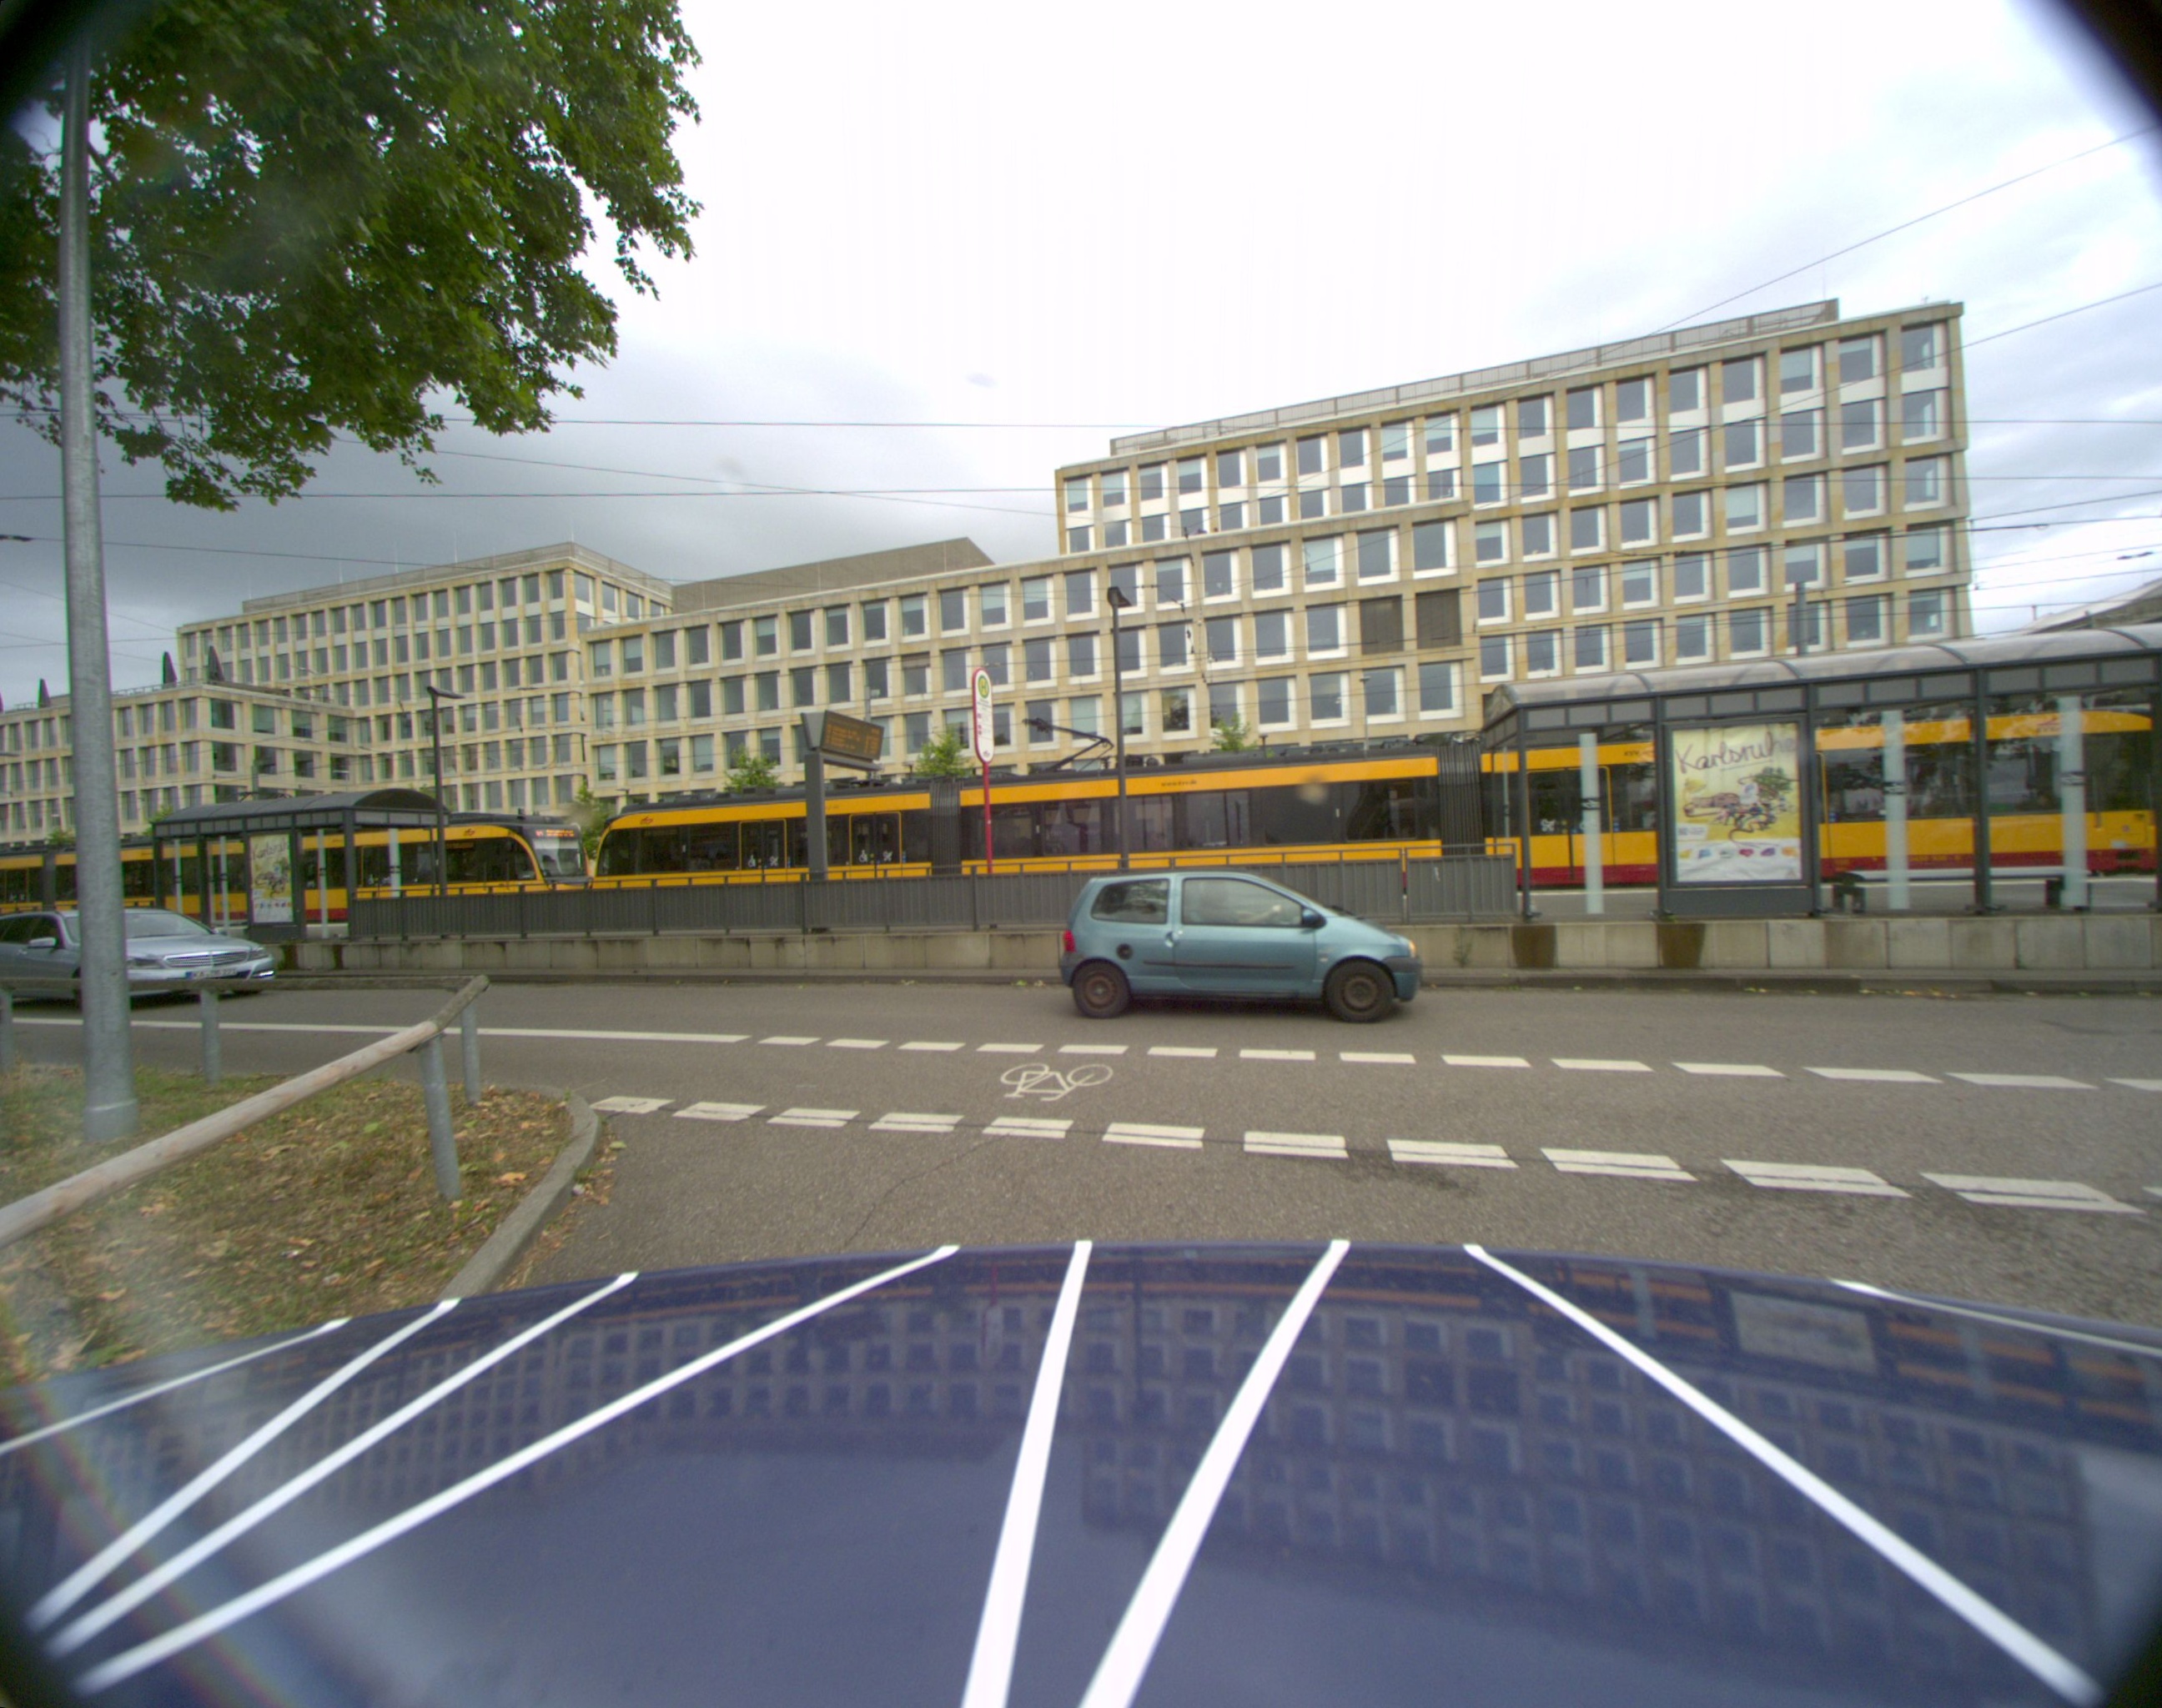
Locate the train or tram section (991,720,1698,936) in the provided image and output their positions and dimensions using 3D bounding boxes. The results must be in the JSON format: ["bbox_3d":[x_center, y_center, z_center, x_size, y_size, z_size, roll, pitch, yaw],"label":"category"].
[{"bbox_3d":[5.349,-0.301,18.337,14.705,4.154,3.194,-2,0,16],"label":"train or tram section"}]

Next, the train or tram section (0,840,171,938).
[{"bbox_3d":[-45.219,1.535,32.733,11.289,3.839,3.252,-2,0,16],"label":"train or tram section"}]

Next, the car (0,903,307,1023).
[{"bbox_3d":[-14.453,1.568,11.546,4.092,1.443,2.002,-2,0,16],"label":"car"}]

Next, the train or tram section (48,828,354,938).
[{"bbox_3d":[-34.330,1.184,29.645,11.289,3.839,3.177,-2,0,16],"label":"train or tram section"}]

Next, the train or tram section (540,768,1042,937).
[{"bbox_3d":[-8.717,0.170,22.441,14.705,4.154,3.194,-2,0,16],"label":"train or tram section"}]

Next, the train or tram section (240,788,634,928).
[{"bbox_3d":[-22.338,0.288,26.265,13.594,4.154,3.194,-2,0,16],"label":"train or tram section"}]

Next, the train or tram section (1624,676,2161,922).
[{"bbox_3d":[19.501,-1.002,14.398,14.705,4.154,3.194,-2,0,16],"label":"train or tram section"}]

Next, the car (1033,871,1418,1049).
[{"bbox_3d":[1.389,0.950,7.516,3.347,1.463,1.538,-2,-1,17],"label":"car"}]
